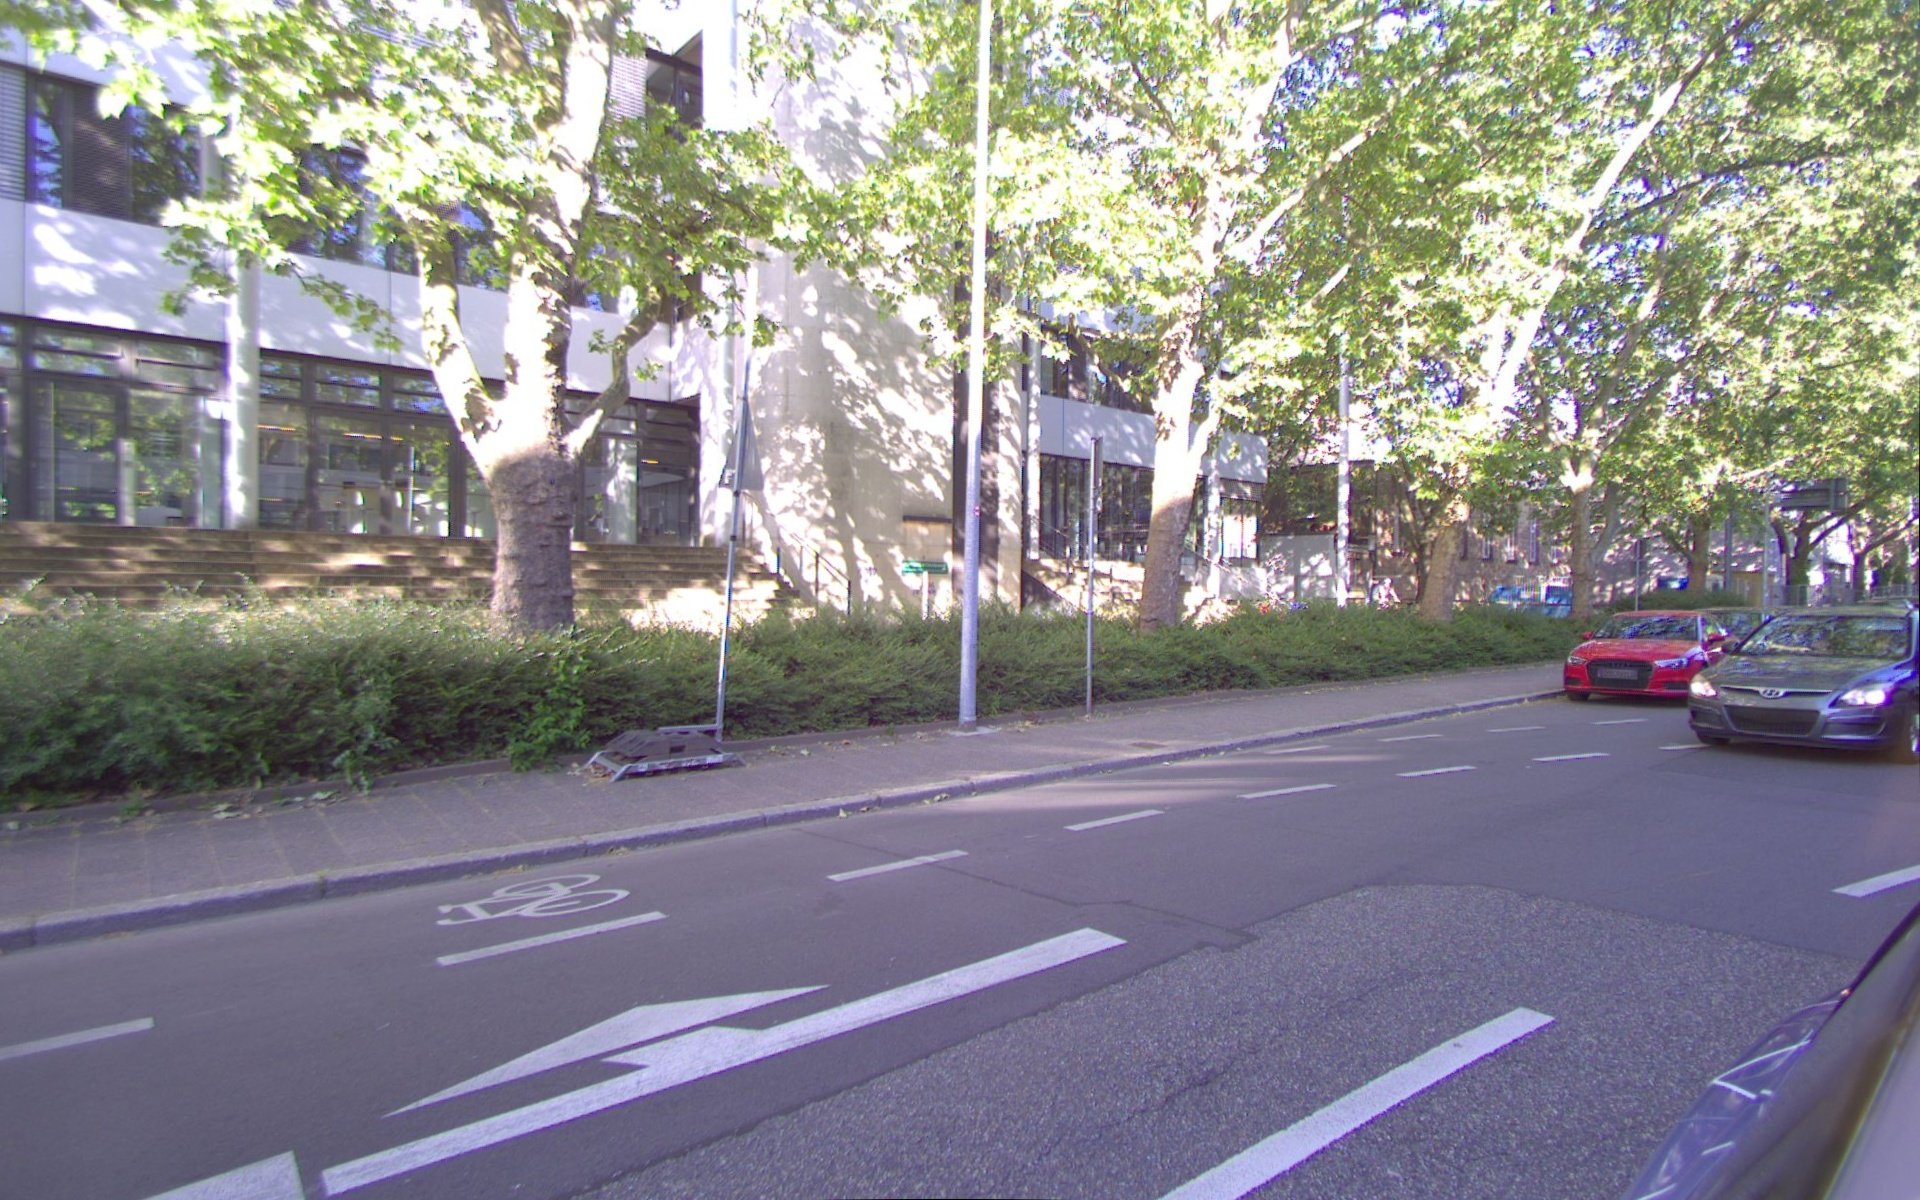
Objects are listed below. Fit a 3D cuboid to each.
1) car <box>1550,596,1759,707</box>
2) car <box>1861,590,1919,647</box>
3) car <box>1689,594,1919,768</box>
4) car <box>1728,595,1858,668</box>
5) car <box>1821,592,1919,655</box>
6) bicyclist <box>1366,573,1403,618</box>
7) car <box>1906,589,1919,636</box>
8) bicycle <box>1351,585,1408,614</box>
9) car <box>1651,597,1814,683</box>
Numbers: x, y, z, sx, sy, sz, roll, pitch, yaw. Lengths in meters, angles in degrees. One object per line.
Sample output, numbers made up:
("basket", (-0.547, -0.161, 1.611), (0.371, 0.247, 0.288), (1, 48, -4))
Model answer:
("car", (11.183, 0.732, 16.193), (4.071, 1.548, 1.827), (0, -1, -42))
("car", (29.731, 0.537, 31.860), (3.840, 1.708, 1.633), (0, 1, -42))
("car", (9.387, 0.694, 10.549), (3.899, 1.501, 1.650), (0, 0, -34))
("car", (18.759, 0.653, 22.737), (3.851, 1.511, 1.679), (0, -1, -42))
("car", (25.952, 0.604, 28.762), (4.022, 1.653, 1.739), (0, 1, -42))
("bicyclist", (15.447, -0.167, 36.808), (0.685, 1.640, 1.037), (0, 0, -38))
("car", (38.764, 0.479, 39.967), (3.829, 1.818, 1.739), (0, 1, -42))
("bicycle", (15.317, -0.022, 36.977), (0.721, 1.027, 1.798), (0, 0, -38))
("car", (14.860, 0.705, 19.404), (4.022, 1.472, 1.739), (0, -1, -42))
